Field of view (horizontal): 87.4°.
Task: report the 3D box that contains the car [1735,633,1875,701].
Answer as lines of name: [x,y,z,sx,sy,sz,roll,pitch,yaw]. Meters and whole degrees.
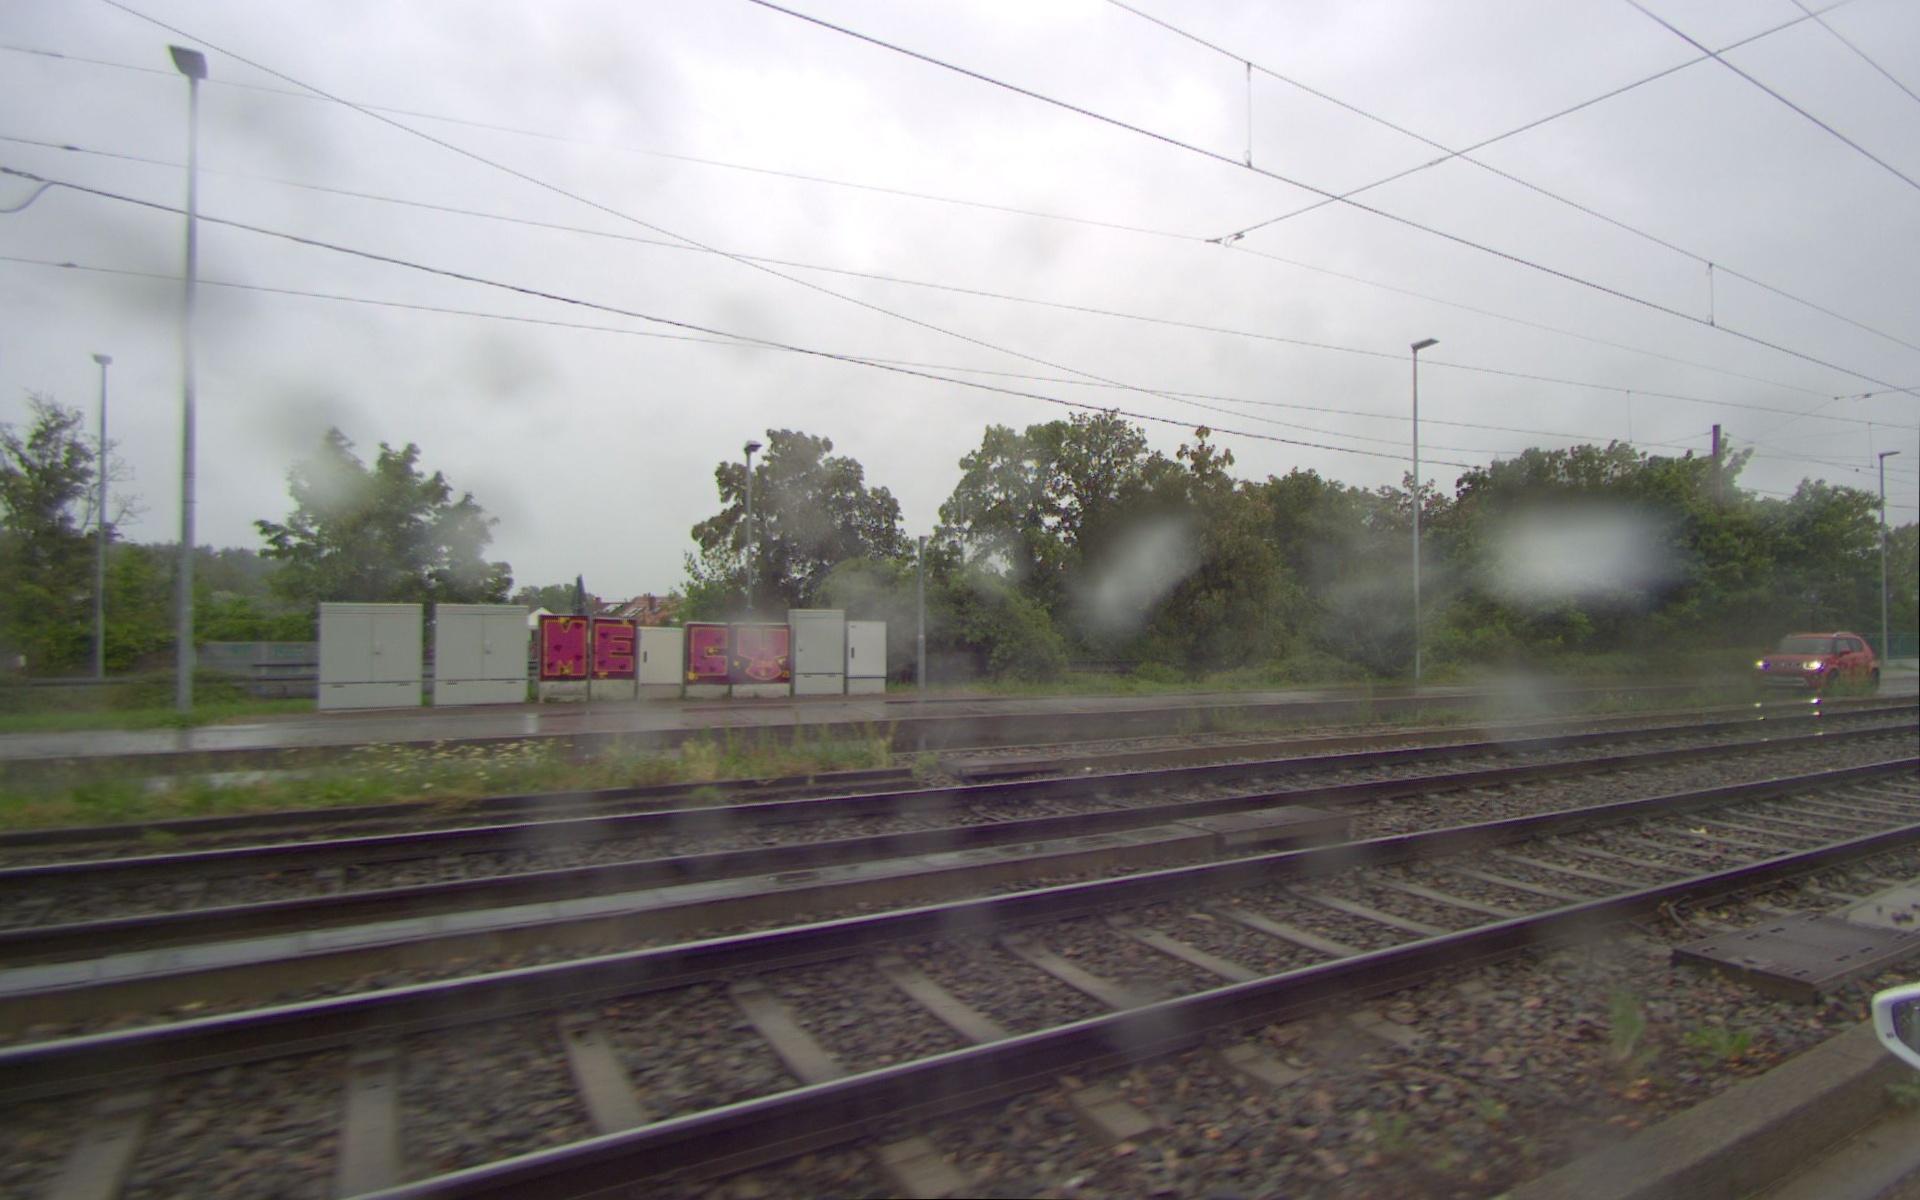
car: [22.187,1.711,26.356,3.608,1.622,1.715,2,0,-31]
